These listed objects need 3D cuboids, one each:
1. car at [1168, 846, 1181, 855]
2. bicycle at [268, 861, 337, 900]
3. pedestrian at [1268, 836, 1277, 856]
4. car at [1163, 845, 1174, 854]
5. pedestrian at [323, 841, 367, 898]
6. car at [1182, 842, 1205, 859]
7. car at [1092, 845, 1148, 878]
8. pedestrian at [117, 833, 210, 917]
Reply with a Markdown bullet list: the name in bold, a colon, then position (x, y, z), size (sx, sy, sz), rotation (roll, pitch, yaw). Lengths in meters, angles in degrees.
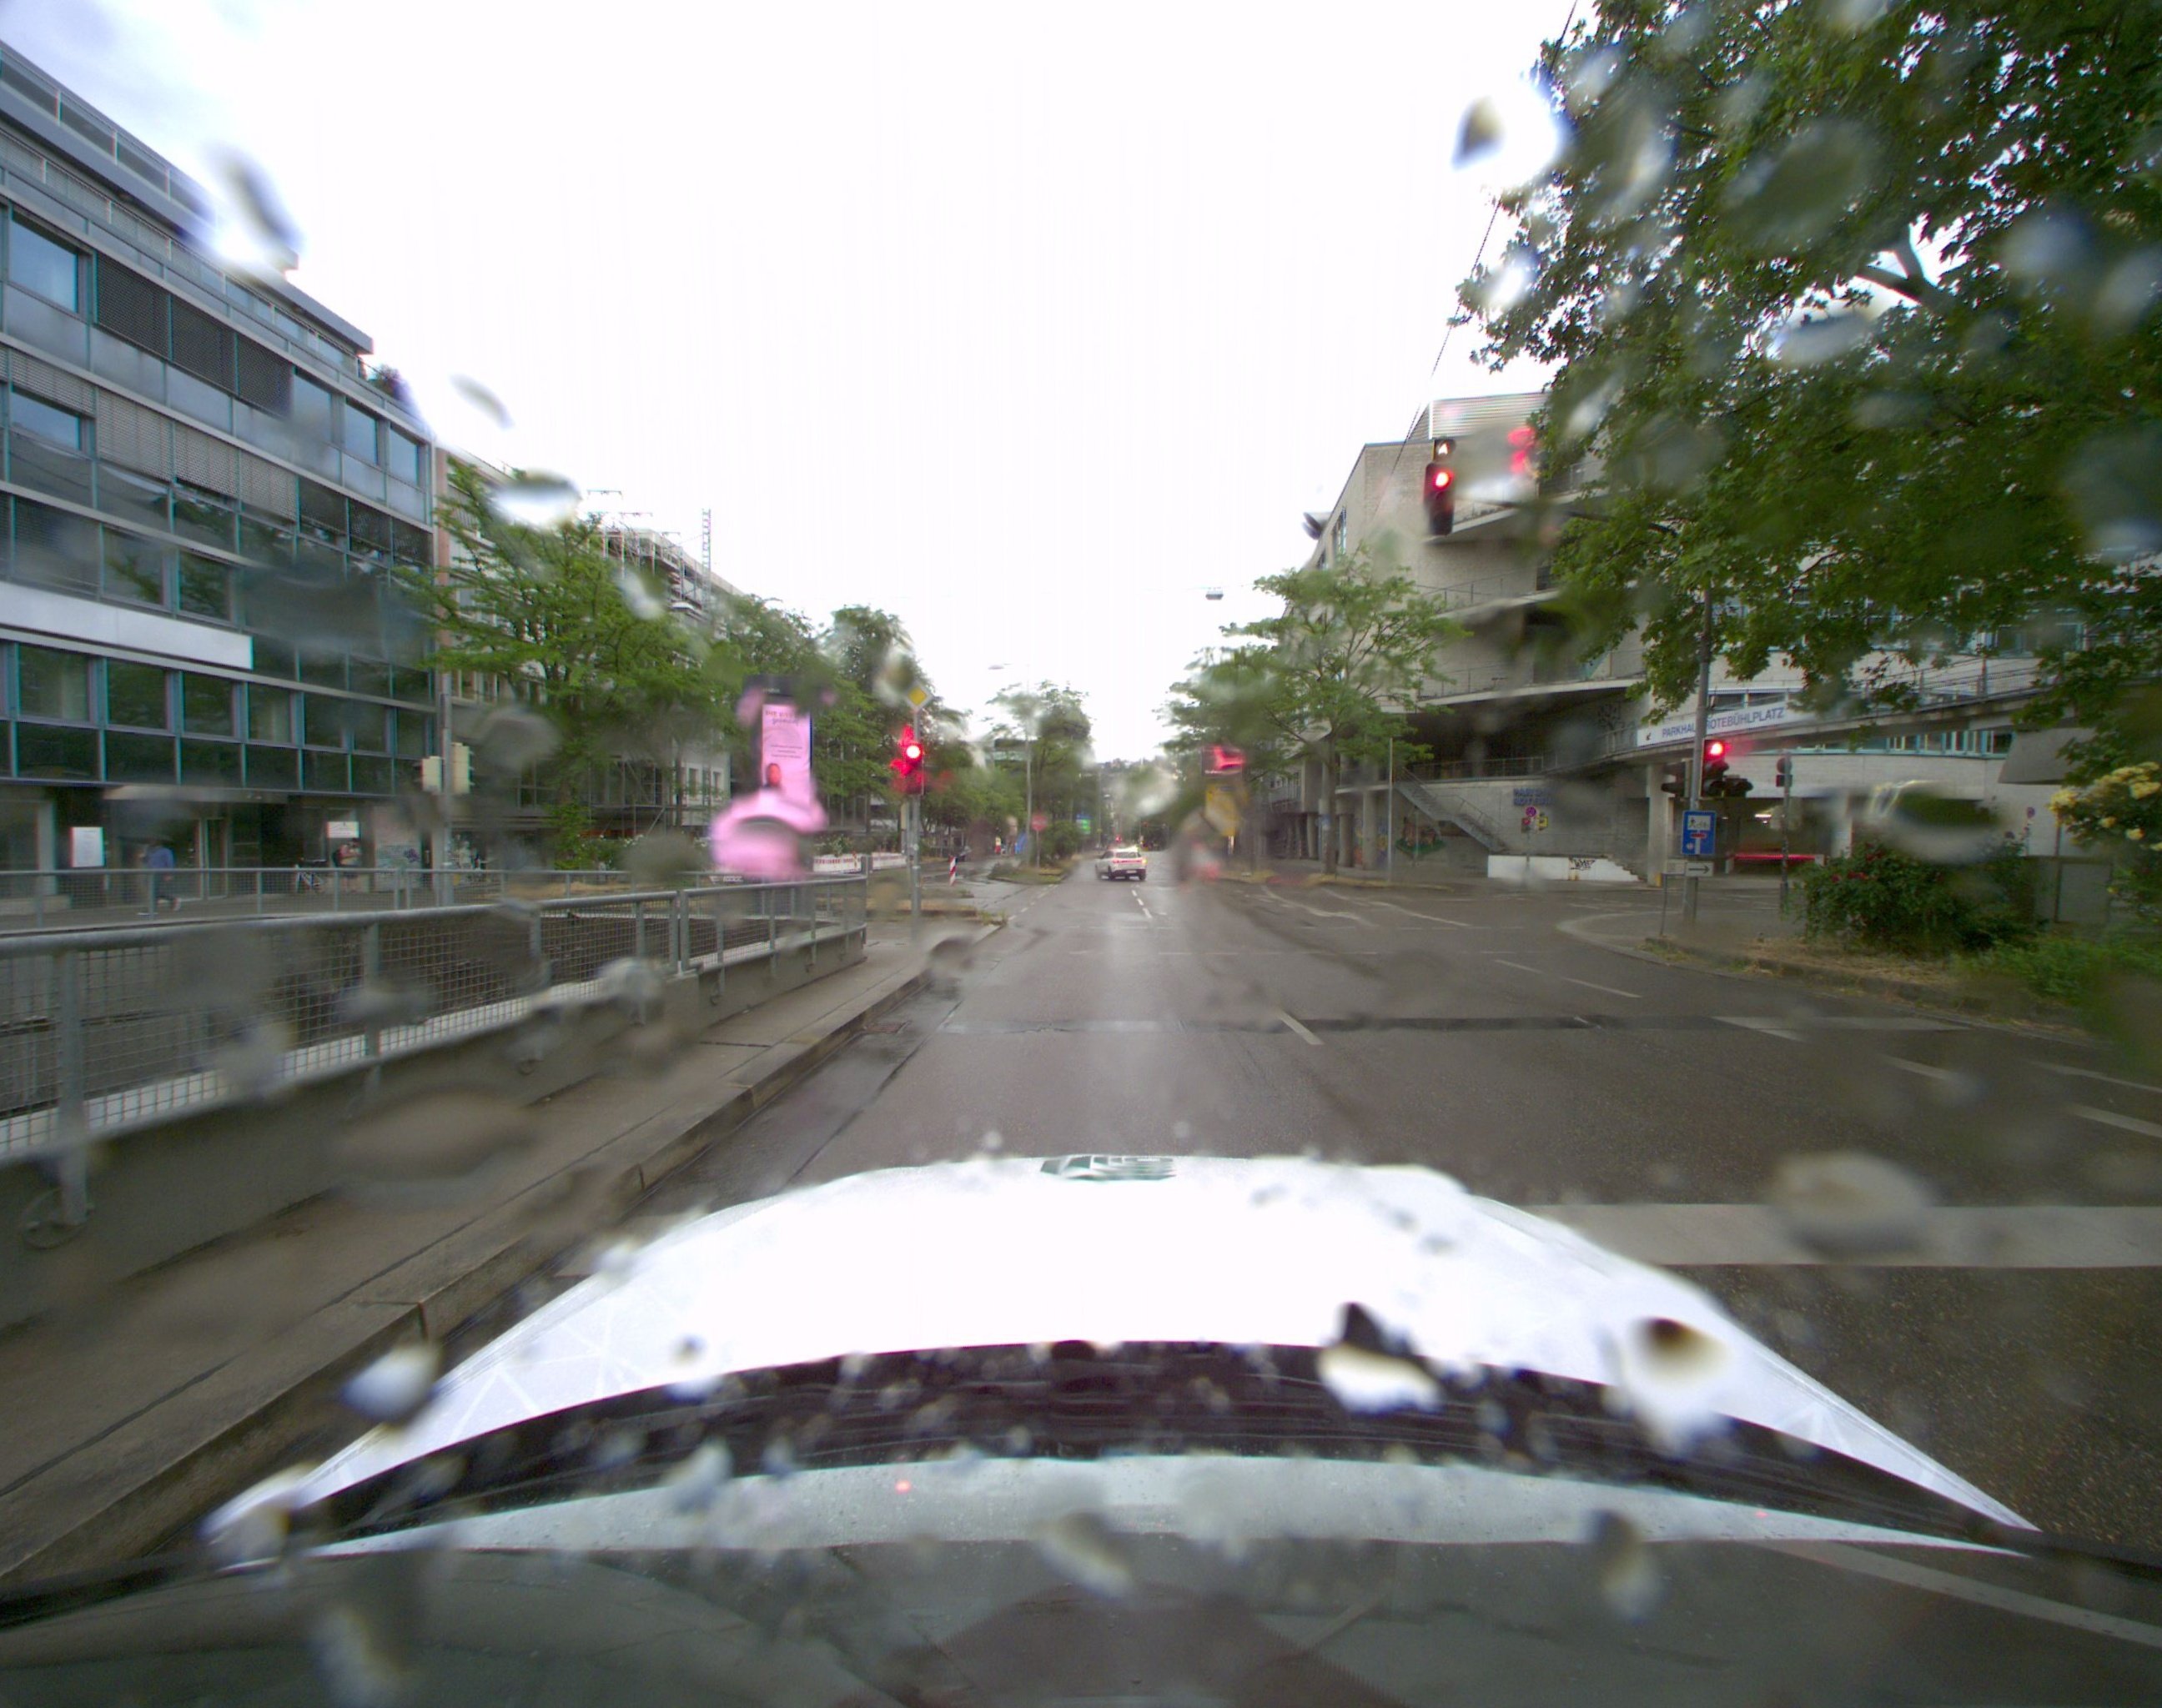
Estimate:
- **car**: position (17.587, -0.680, 152.949), size (1.986, 1.723, 4.001), rotation (0, -1, 1)
- **bicycle**: position (-22.952, 0.759, 24.043), size (0.444, 1.085, 1.567), rotation (0, 0, 6)
- **pedestrian**: position (17.916, -0.736, 76.043), size (0.770, 1.920, 0.705), rotation (-1, -1, 11)
- **car**: position (17.871, -0.836, 166.647), size (1.986, 1.736, 4.001), rotation (0, -1, 2)
- **pedestrian**: position (-22.806, 0.483, 25.244), size (0.694, 1.741, 0.694), rotation (1, 0, -4)
- **car**: position (11.541, -0.355, 83.348), size (2.324, 1.691, 4.010), rotation (0, 0, 9)
- **car**: position (1.971, 0.375, 42.443), size (1.831, 1.640, 4.281), rotation (1, 0, -13)
- **pedestrian**: position (-20.842, 0.463, 18.525), size (0.854, 1.838, 1.060), rotation (1, 0, 2)
